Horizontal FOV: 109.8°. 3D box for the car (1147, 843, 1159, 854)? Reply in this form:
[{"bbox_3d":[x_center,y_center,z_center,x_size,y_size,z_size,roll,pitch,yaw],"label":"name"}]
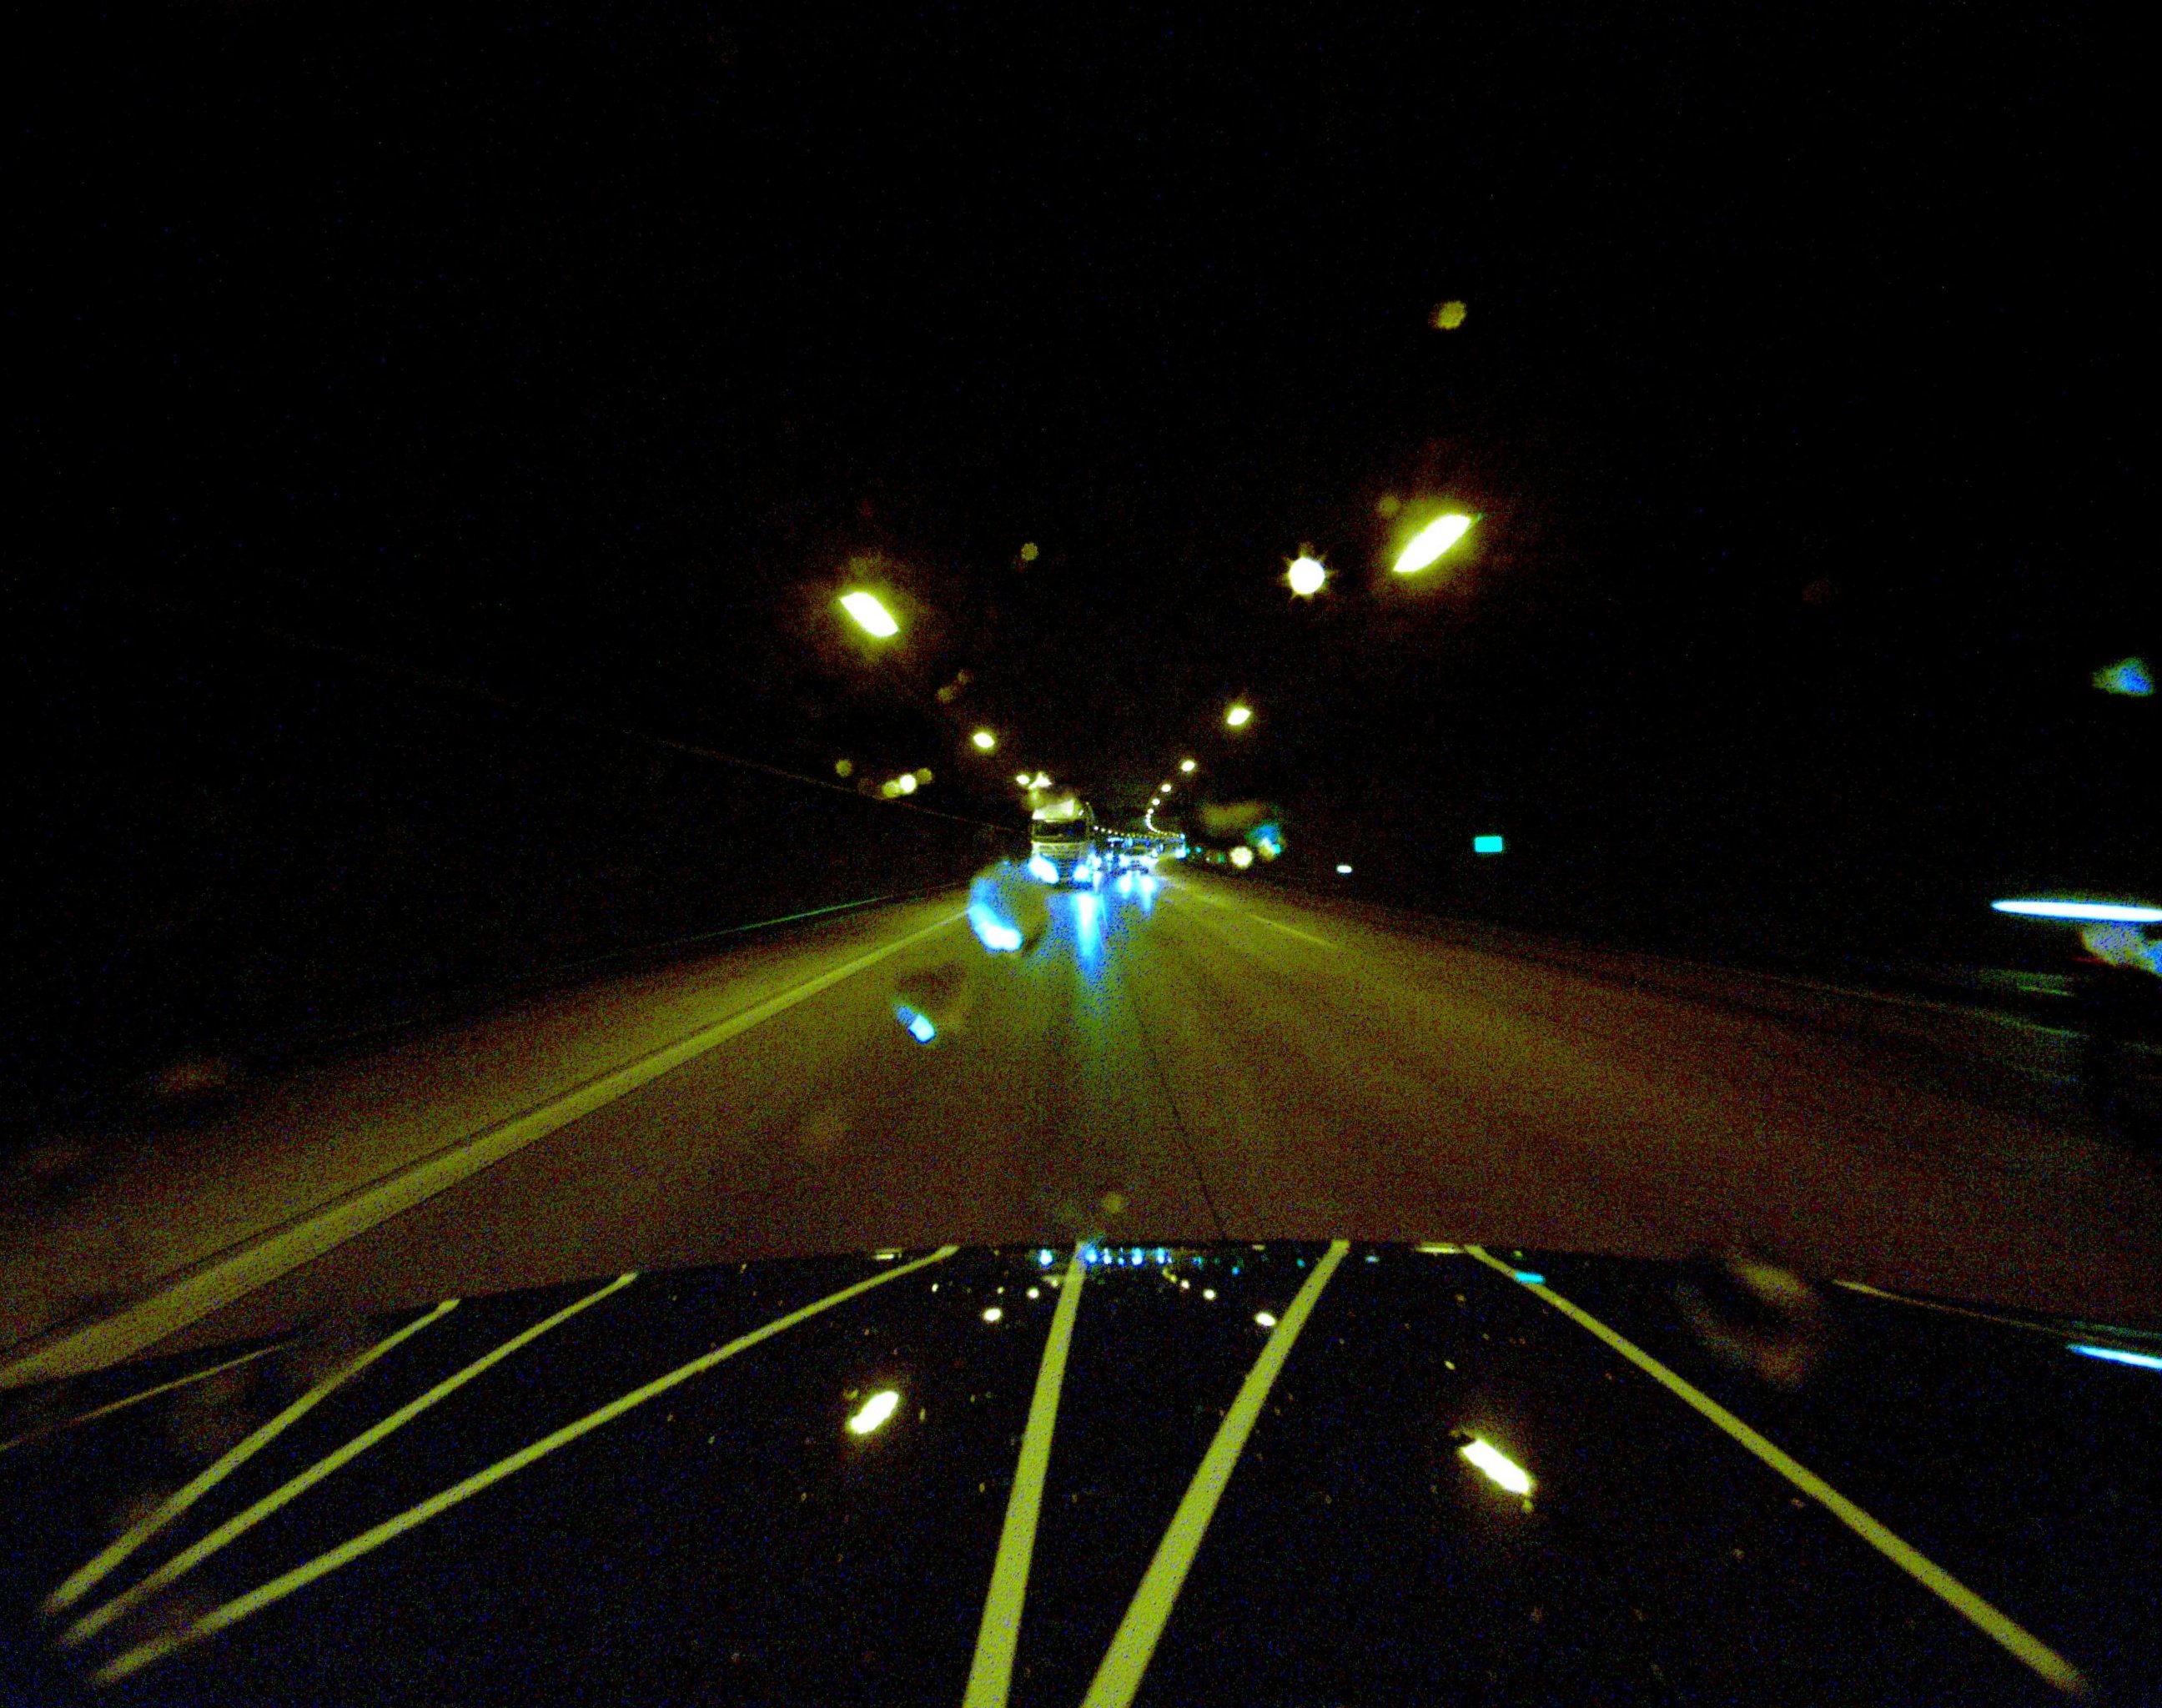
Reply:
[{"bbox_3d":[13.279,-1.067,140.300,1.997,1.788,4.001,-3,1,8],"label":"car"}]

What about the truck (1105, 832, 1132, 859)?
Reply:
[{"bbox_3d":[5.909,-1.407,117.224,2.899,3.820,9.002,-3,1,10],"label":"truck"}]

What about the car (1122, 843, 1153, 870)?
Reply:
[{"bbox_3d":[4.146,0.145,56.580,1.998,1.890,4.000,-2,1,1],"label":"car"}]

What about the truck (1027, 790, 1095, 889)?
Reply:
[{"bbox_3d":[-0.803,-0.663,35.938,2.652,4.139,6.005,-2,1,2],"label":"truck"}]

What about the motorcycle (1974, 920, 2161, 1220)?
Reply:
[{"bbox_3d":[4.967,0.930,2.571,1.056,1.151,2.427,-2,1,1],"label":"motorcycle"}]

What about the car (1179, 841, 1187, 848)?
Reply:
[{"bbox_3d":[29.681,-2.817,221.402,1.997,1.788,4.002,-3,1,11],"label":"car"}]

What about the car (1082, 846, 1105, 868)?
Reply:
[{"bbox_3d":[1.163,0.200,67.923,1.839,1.849,4.288,-1,1,4],"label":"car"}]

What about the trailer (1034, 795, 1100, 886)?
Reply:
[{"bbox_3d":[-0.478,-0.699,42.596,2.626,4.139,14.002,-3,1,3],"label":"trailer"}]
